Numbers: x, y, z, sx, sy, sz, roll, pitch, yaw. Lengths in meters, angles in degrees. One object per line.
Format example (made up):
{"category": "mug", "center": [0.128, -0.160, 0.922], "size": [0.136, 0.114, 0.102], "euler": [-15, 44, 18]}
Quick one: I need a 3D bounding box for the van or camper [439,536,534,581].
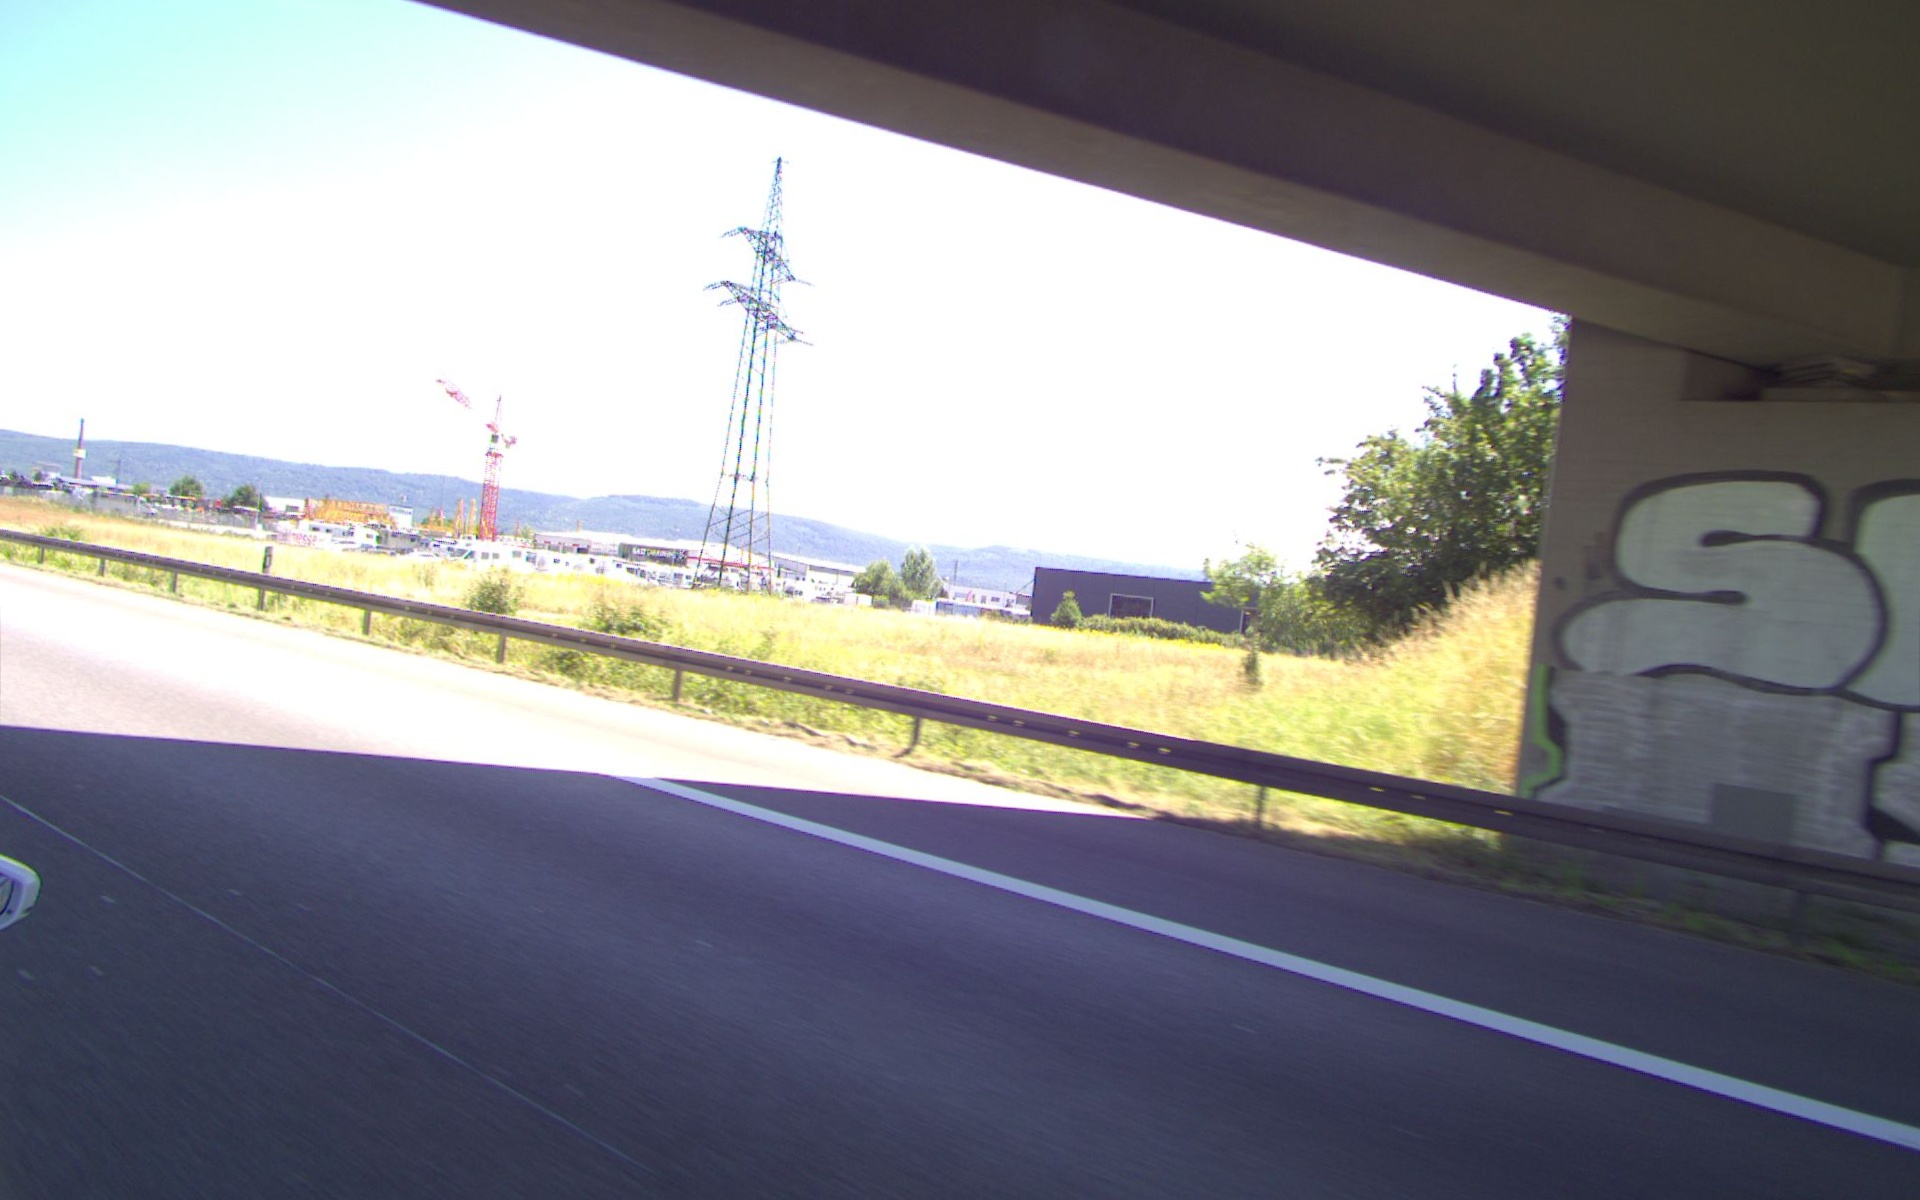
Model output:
{"category": "van or camper", "center": [-43.616, -3.786, 93.007], "size": [2.393, 3.138, 7.752], "euler": [7, -1, 29]}

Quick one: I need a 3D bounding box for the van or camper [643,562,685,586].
{"category": "van or camper", "center": [-45.917, -4.009, 156.264], "size": [2.461, 2.933, 5.948], "euler": [7, 0, 28]}

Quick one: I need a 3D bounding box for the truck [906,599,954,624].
{"category": "truck", "center": [-3.578, 1.387, 121.483], "size": [2.531, 2.477, 6.137], "euler": [7, 0, 32]}

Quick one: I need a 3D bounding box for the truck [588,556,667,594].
{"category": "truck", "center": [-33.935, -2.526, 103.050], "size": [2.725, 2.915, 7.756], "euler": [7, -1, 27]}

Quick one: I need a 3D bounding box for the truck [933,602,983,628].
{"category": "truck", "center": [-0.136, 1.815, 119.094], "size": [2.531, 2.477, 6.778], "euler": [7, 0, 32]}

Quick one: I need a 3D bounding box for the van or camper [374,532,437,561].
{"category": "van or camper", "center": [-69.323, -6.704, 125.892], "size": [2.381, 2.801, 6.454], "euler": [7, 0, 30]}

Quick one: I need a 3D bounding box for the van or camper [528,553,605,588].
{"category": "van or camper", "center": [-42.353, -3.143, 108.644], "size": [2.558, 2.915, 7.756], "euler": [7, -1, 27]}

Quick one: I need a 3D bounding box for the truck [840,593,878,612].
{"category": "truck", "center": [-12.934, 0.333, 129.138], "size": [2.343, 2.022, 5.149], "euler": [7, 0, 28]}

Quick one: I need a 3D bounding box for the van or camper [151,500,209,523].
{"category": "van or camper", "center": [-114.009, -12.940, 147.065], "size": [2.560, 2.432, 6.120], "euler": [7, 0, 33]}

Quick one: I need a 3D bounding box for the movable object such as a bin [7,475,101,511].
{"category": "movable object such as a bin", "center": [-133.081, -15.665, 147.896], "size": [2.932, 3.736, 9.708], "euler": [7, 1, 38]}

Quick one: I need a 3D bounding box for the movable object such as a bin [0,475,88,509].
{"category": "movable object such as a bin", "center": [-137.674, -16.183, 151.025], "size": [2.928, 3.736, 9.718], "euler": [7, 1, 33]}

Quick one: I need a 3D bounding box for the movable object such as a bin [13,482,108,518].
{"category": "movable object such as a bin", "center": [-130.354, -14.469, 145.874], "size": [3.367, 3.736, 9.707], "euler": [7, 1, 38]}

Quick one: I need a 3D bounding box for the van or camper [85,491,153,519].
{"category": "van or camper", "center": [-110.853, -12.484, 132.643], "size": [2.398, 2.584, 6.347], "euler": [7, 0, 33]}

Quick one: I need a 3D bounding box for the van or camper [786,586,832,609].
{"category": "van or camper", "center": [-19.821, -0.309, 132.565], "size": [2.713, 2.285, 6.222], "euler": [7, 0, 28]}

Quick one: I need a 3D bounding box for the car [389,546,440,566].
{"category": "car", "center": [-51.191, -4.117, 94.496], "size": [1.560, 1.313, 3.895], "euler": [7, -1, 32]}

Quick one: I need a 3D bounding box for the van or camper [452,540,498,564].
{"category": "van or camper", "center": [-68.734, -6.796, 142.712], "size": [2.570, 2.799, 5.270], "euler": [7, 0, 25]}

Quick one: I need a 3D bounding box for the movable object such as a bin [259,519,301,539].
{"category": "movable object such as a bin", "center": [-108.324, -11.338, 160.239], "size": [6.695, 2.587, 2.914], "euler": [6, 1, 32]}

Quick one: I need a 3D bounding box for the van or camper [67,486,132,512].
{"category": "van or camper", "center": [-116.124, -13.584, 135.870], "size": [2.560, 2.432, 6.120], "euler": [7, 0, 33]}

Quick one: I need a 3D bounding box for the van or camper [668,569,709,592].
{"category": "van or camper", "center": [-42.198, -3.012, 156.535], "size": [2.461, 2.933, 5.948], "euler": [7, 0, 28]}

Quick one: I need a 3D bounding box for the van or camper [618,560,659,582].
{"category": "van or camper", "center": [-51.315, -4.604, 160.586], "size": [2.600, 2.765, 5.948], "euler": [7, 0, 28]}

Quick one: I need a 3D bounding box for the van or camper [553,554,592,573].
{"category": "van or camper", "center": [-60.567, -5.629, 157.238], "size": [2.336, 2.322, 5.267], "euler": [7, 0, 27]}

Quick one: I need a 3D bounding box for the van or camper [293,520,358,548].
{"category": "van or camper", "center": [-83.379, -8.605, 132.326], "size": [3.269, 2.711, 6.359], "euler": [7, 0, 31]}

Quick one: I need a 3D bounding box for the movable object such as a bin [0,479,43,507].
{"category": "movable object such as a bin", "center": [-152.999, -17.345, 159.985], "size": [2.354, 3.736, 10.260], "euler": [6, 1, 31]}

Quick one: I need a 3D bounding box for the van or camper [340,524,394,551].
{"category": "van or camper", "center": [-77.372, -8.158, 131.292], "size": [2.572, 2.711, 5.264], "euler": [7, 0, 30]}

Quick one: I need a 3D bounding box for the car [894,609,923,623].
{"category": "car", "center": [-6.257, 1.982, 122.525], "size": [1.692, 1.370, 3.663], "euler": [7, -1, 29]}

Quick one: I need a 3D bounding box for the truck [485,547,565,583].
{"category": "truck", "center": [-46.439, -3.671, 107.695], "size": [2.558, 2.915, 7.756], "euler": [7, -1, 27]}

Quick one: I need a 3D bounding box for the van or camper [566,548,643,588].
{"category": "van or camper", "center": [-36.964, -3.320, 104.911], "size": [2.627, 3.231, 7.759], "euler": [7, -1, 25]}
